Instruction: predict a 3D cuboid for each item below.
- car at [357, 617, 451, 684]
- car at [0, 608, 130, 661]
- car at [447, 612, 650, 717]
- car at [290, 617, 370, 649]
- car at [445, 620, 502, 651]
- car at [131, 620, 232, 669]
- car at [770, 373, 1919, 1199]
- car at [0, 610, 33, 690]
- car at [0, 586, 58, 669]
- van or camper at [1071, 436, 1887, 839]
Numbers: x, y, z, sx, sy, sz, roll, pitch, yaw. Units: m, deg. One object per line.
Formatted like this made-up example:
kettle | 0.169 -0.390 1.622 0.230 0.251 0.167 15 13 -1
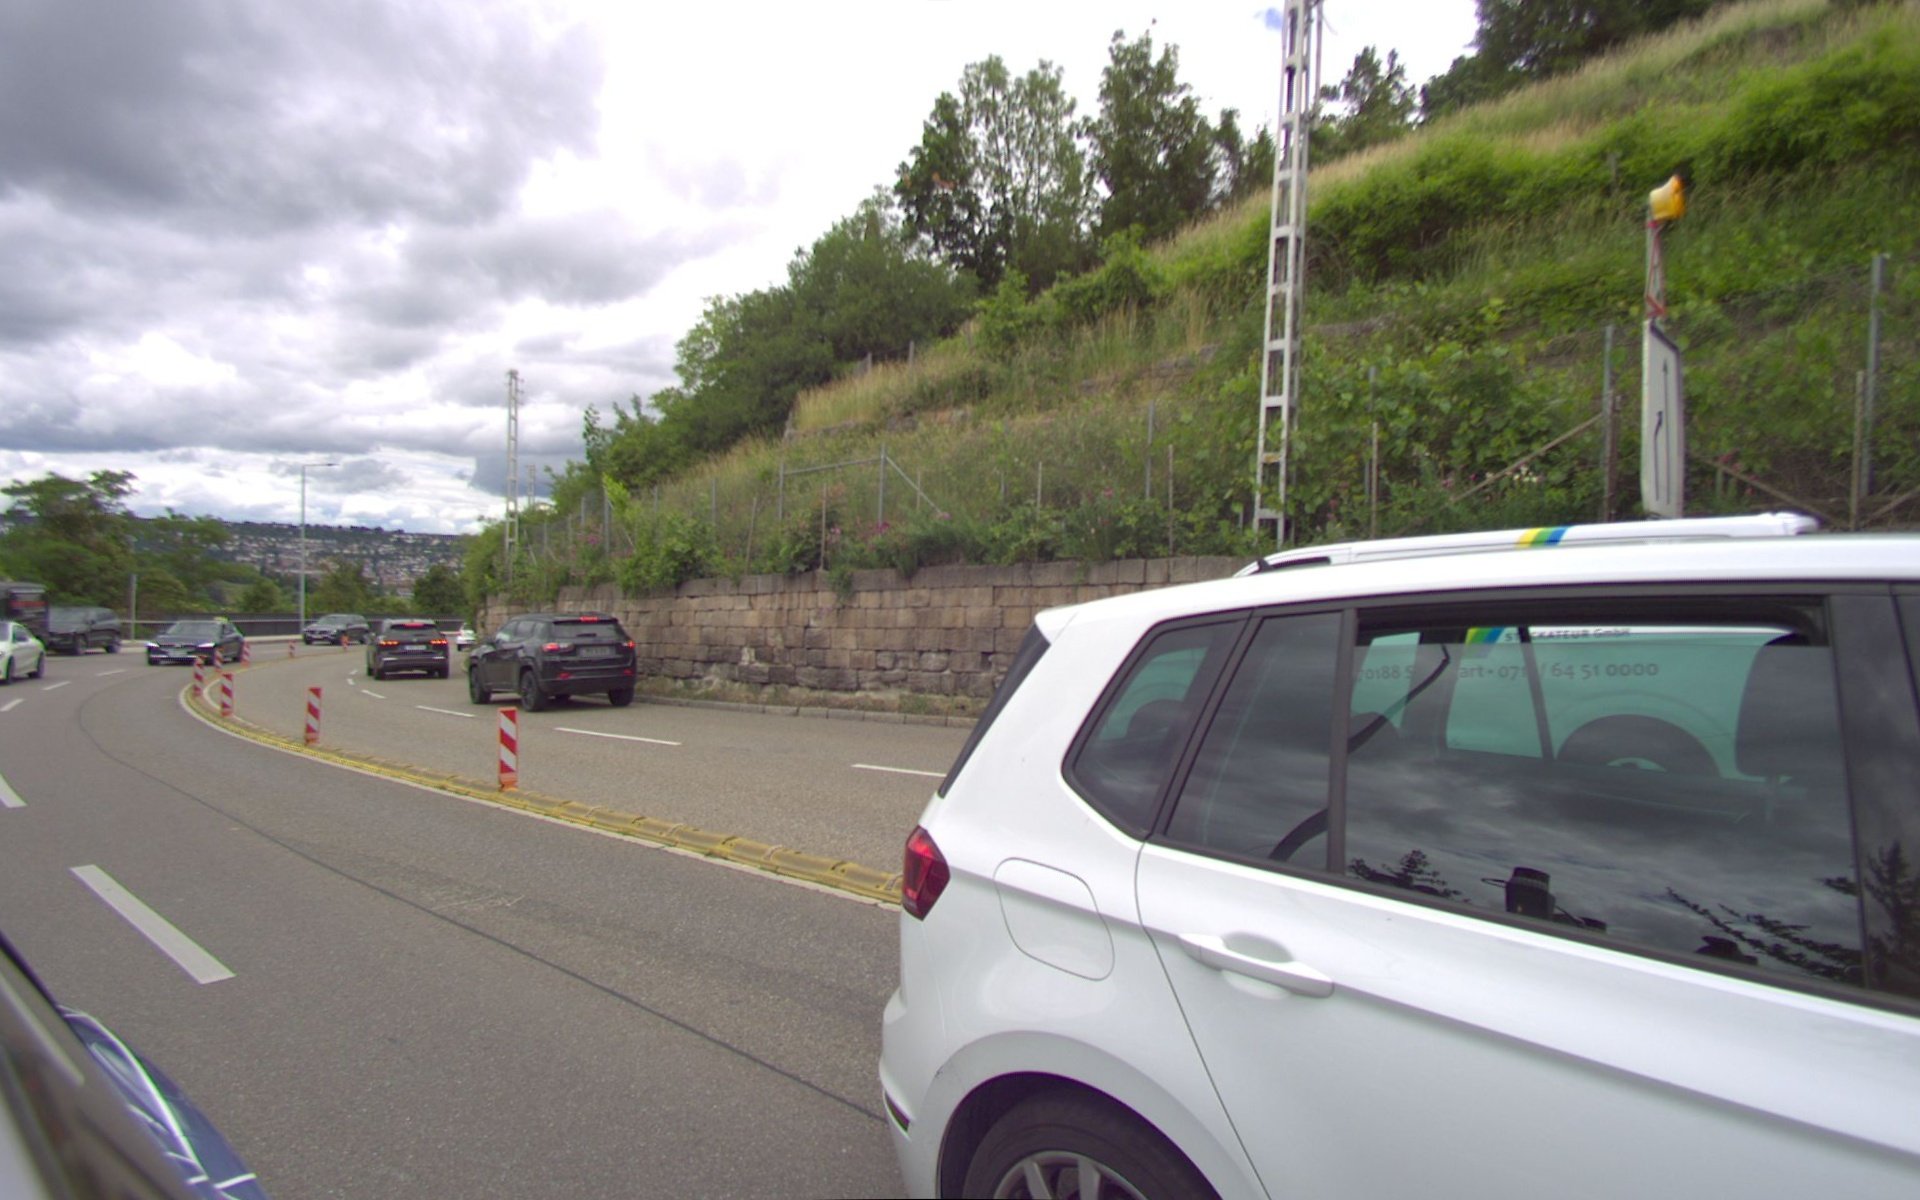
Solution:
car | -15.845 1.381 28.733 1.818 1.739 4.474 1 -2 -35
car | -33.073 1.223 37.519 1.965 1.731 5.066 4 -2 -21
car | -7.466 1.071 18.135 1.843 1.636 4.351 0 -1 -45
car | -34.156 1.767 54.998 1.969 1.684 4.544 0 -1 -7
car | -26.333 1.912 54.925 1.679 1.560 4.008 3 -1 -10
car | -25.675 1.439 33.534 1.869 1.505 4.155 2 -2 -27
car | 1.824 0.599 1.282 4.355 1.592 1.801 -2 -3 42
car | -22.758 1.134 23.151 1.968 1.731 4.007 2 -3 -39
car | -30.575 0.775 31.295 2.136 2.541 5.790 5 -3 -24
van or camper | 3.501 0.243 7.576 4.962 2.031 2.125 -3 0 42
